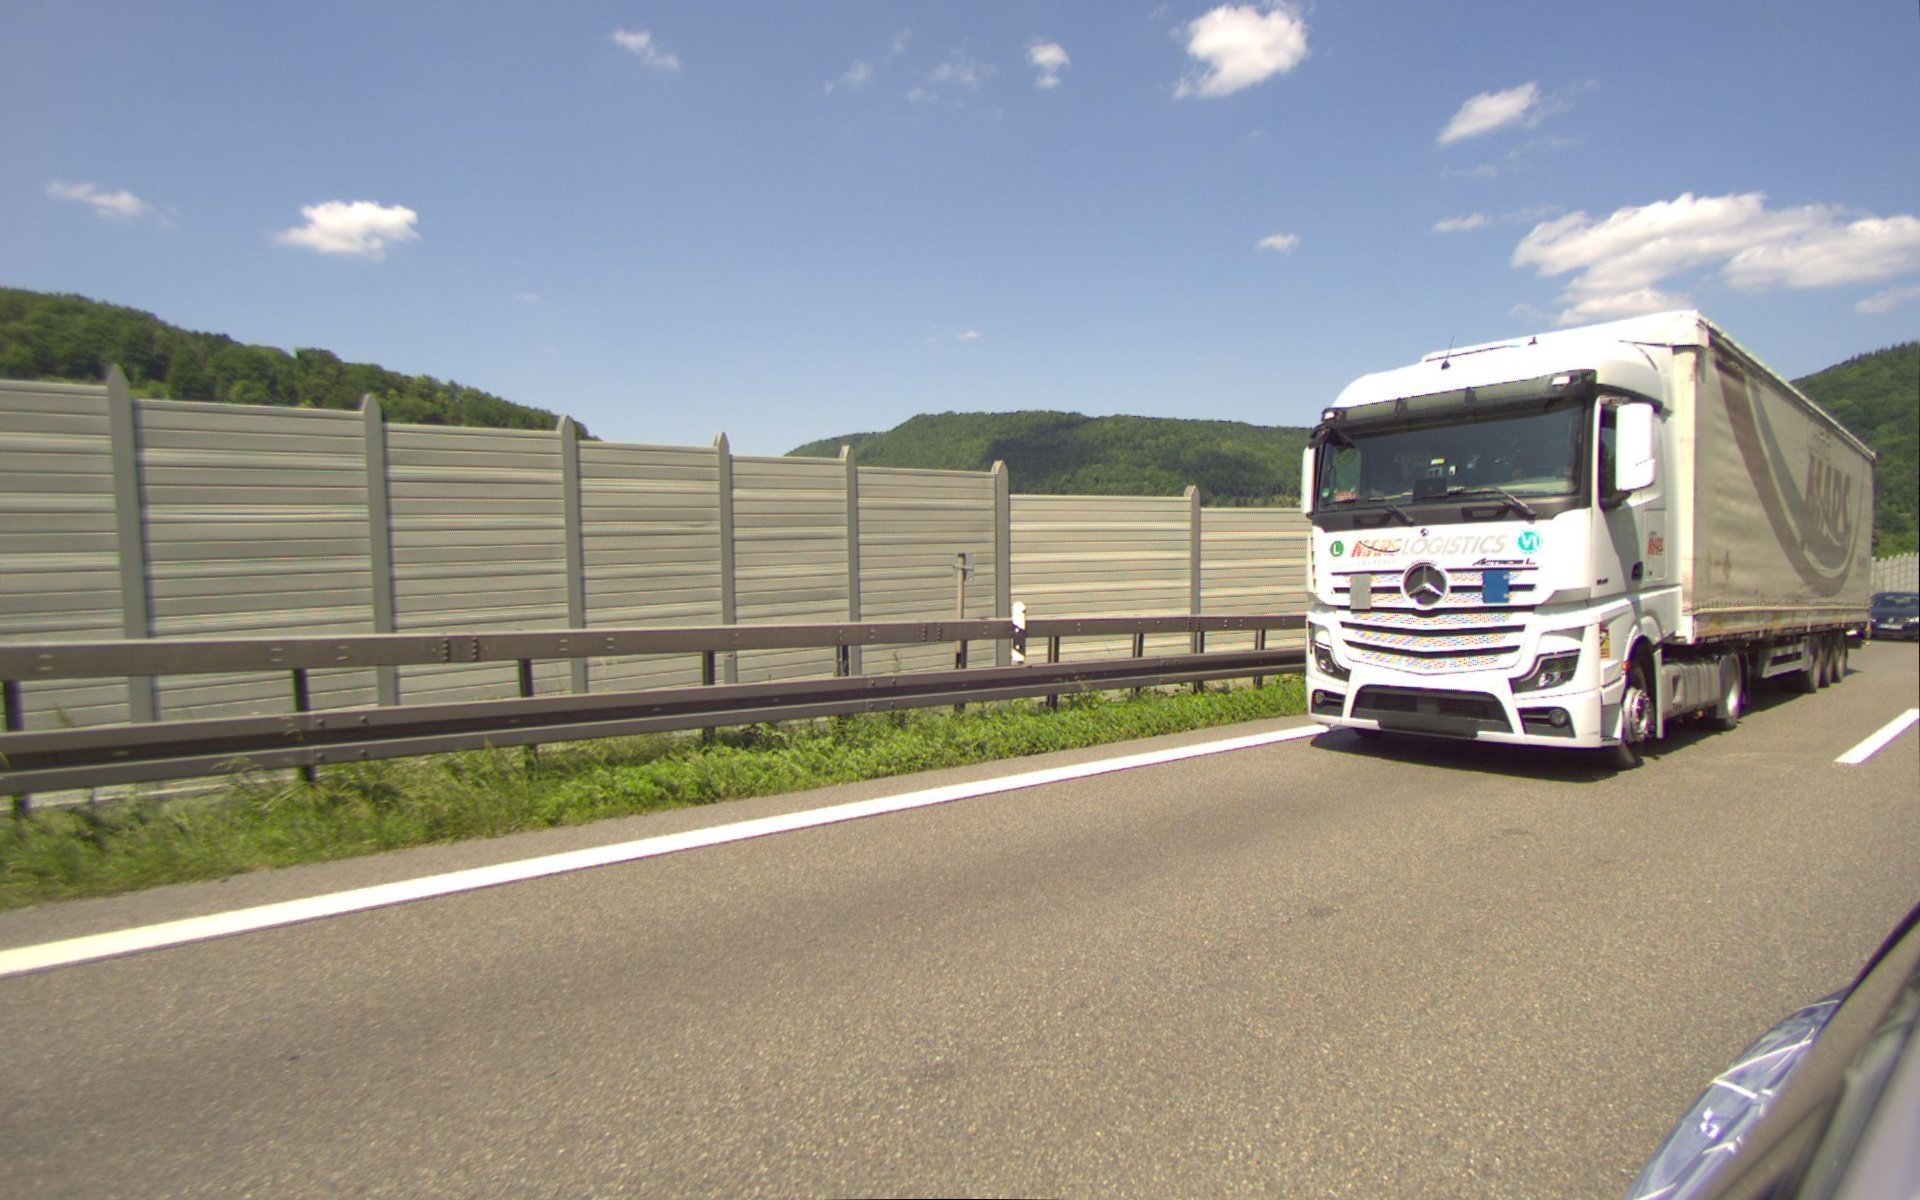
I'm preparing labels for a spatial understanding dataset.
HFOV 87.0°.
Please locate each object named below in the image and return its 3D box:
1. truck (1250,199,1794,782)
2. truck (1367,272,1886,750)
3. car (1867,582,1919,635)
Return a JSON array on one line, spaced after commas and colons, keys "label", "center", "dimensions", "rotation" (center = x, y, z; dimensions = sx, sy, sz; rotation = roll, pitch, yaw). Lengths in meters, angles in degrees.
[{"label": "truck", "center": [6.077, -0.857, 10.369], "dimensions": [6.706, 4.089, 2.762], "rotation": [-2, 1, -41]}, {"label": "truck", "center": [9.860, -0.940, 13.898], "dimensions": [11.839, 4.198, 2.860], "rotation": [-1, 2, -41]}, {"label": "car", "center": [28.350, 0.240, 30.049], "dimensions": [3.415, 1.430, 1.661], "rotation": [-1, 4, -41]}]
